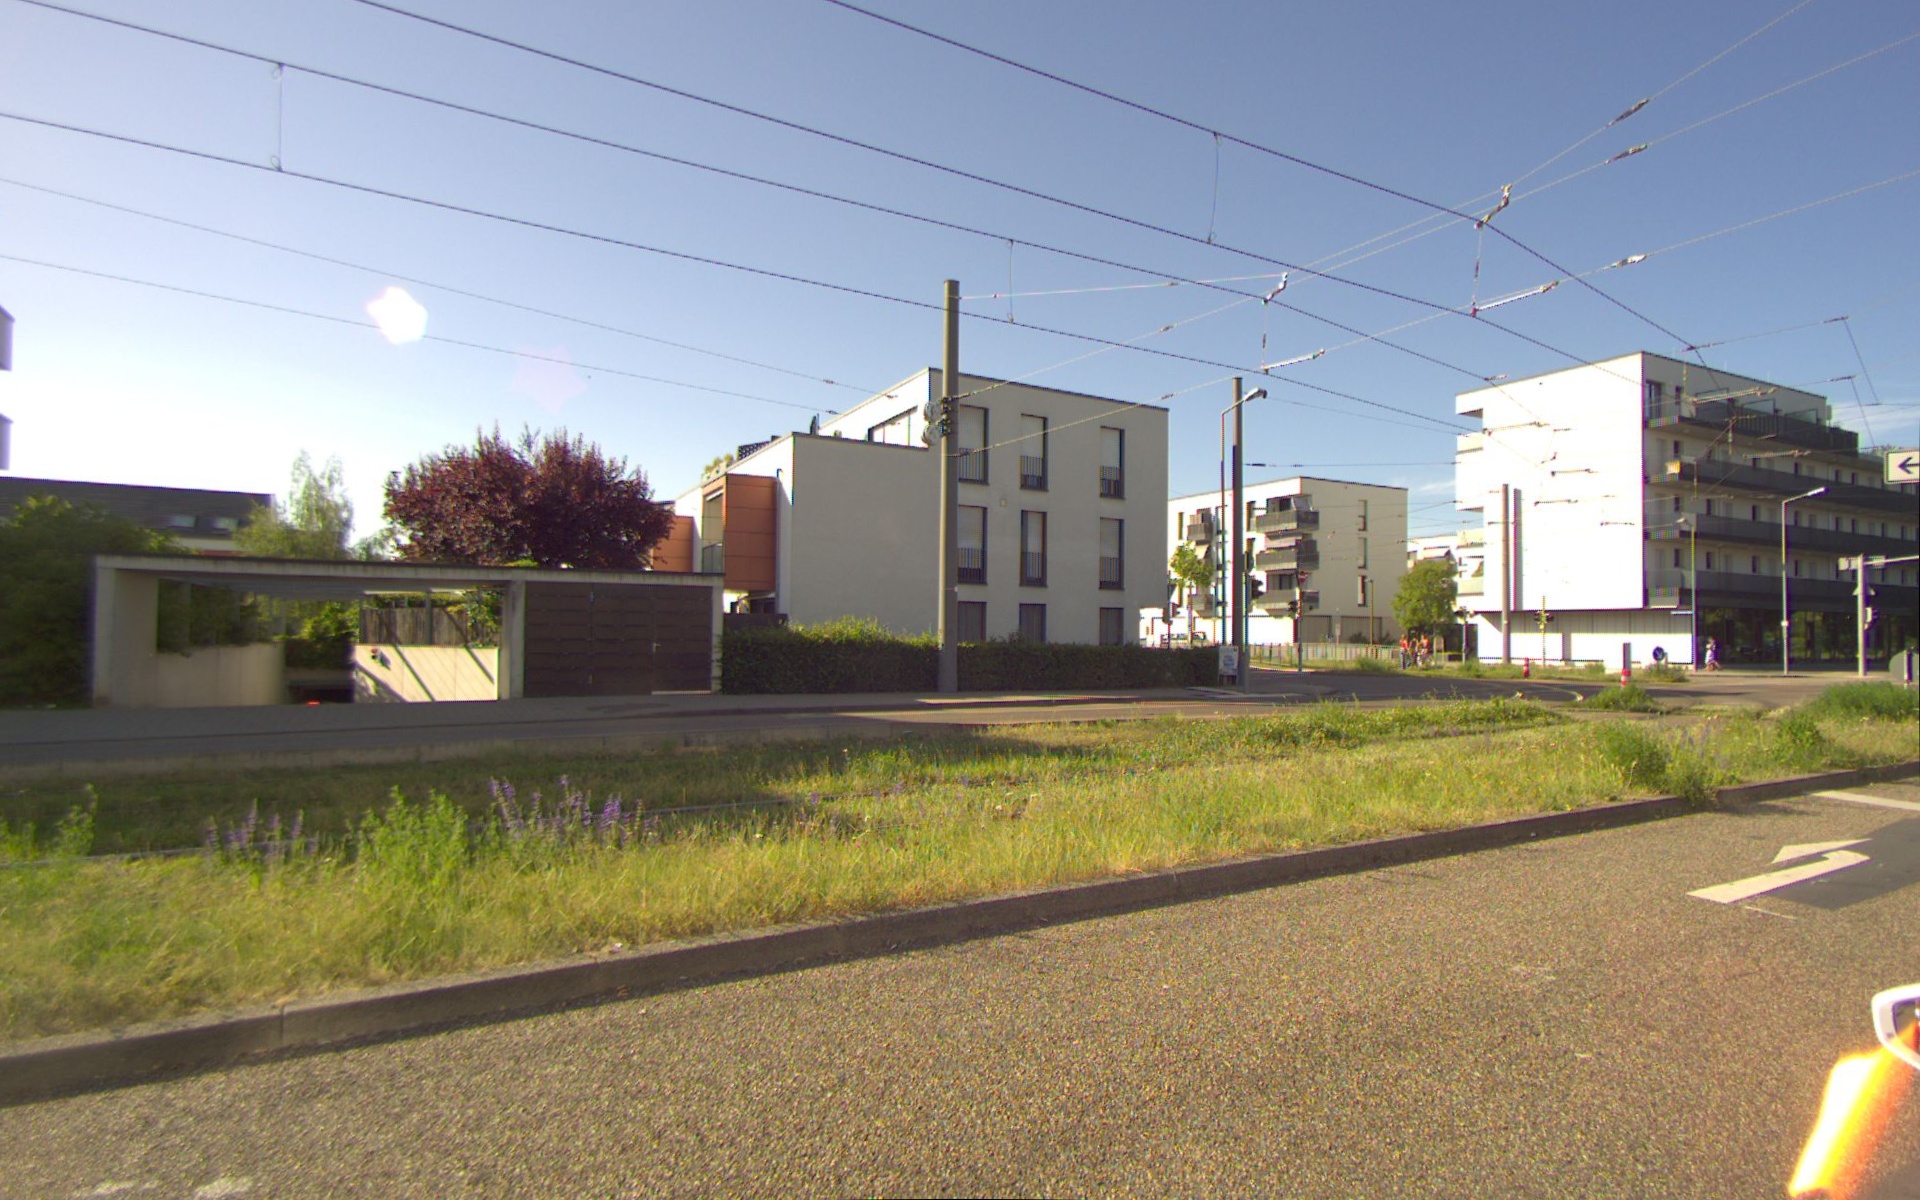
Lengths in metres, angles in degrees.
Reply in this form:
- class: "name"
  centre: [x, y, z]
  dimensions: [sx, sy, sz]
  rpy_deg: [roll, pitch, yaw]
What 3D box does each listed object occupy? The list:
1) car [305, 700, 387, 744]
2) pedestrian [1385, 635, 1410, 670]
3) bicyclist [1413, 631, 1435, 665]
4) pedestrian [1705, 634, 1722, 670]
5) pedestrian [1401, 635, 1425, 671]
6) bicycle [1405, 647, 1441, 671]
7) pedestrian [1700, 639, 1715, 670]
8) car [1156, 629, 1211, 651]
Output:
- class: "car"
  centre: [-21.118, 4.188, 34.671]
  dimensions: [1.552, 1.344, 3.987]
  rpy_deg: [0, -6, -19]
- class: "pedestrian"
  centre: [20.809, 2.477, 47.793]
  dimensions: [0.736, 1.626, 0.765]
  rpy_deg: [2, 0, -37]
- class: "bicyclist"
  centre: [23.332, 2.409, 50.489]
  dimensions: [0.634, 1.635, 0.777]
  rpy_deg: [2, 0, -35]
- class: "pedestrian"
  centre: [38.344, 2.643, 51.097]
  dimensions: [0.513, 1.767, 0.539]
  rpy_deg: [2, 0, -35]
- class: "pedestrian"
  centre: [21.230, 2.486, 47.083]
  dimensions: [0.736, 1.626, 0.765]
  rpy_deg: [2, 0, -37]
- class: "bicycle"
  centre: [23.264, 2.946, 50.455]
  dimensions: [1.843, 1.139, 0.814]
  rpy_deg: [2, 0, -36]
- class: "pedestrian"
  centre: [37.757, 2.752, 50.754]
  dimensions: [0.513, 1.523, 0.438]
  rpy_deg: [2, 0, -35]
- class: "car"
  centre: [17.799, 3.195, 80.270]
  dimensions: [1.974, 1.595, 4.309]
  rpy_deg: [2, 0, -27]
